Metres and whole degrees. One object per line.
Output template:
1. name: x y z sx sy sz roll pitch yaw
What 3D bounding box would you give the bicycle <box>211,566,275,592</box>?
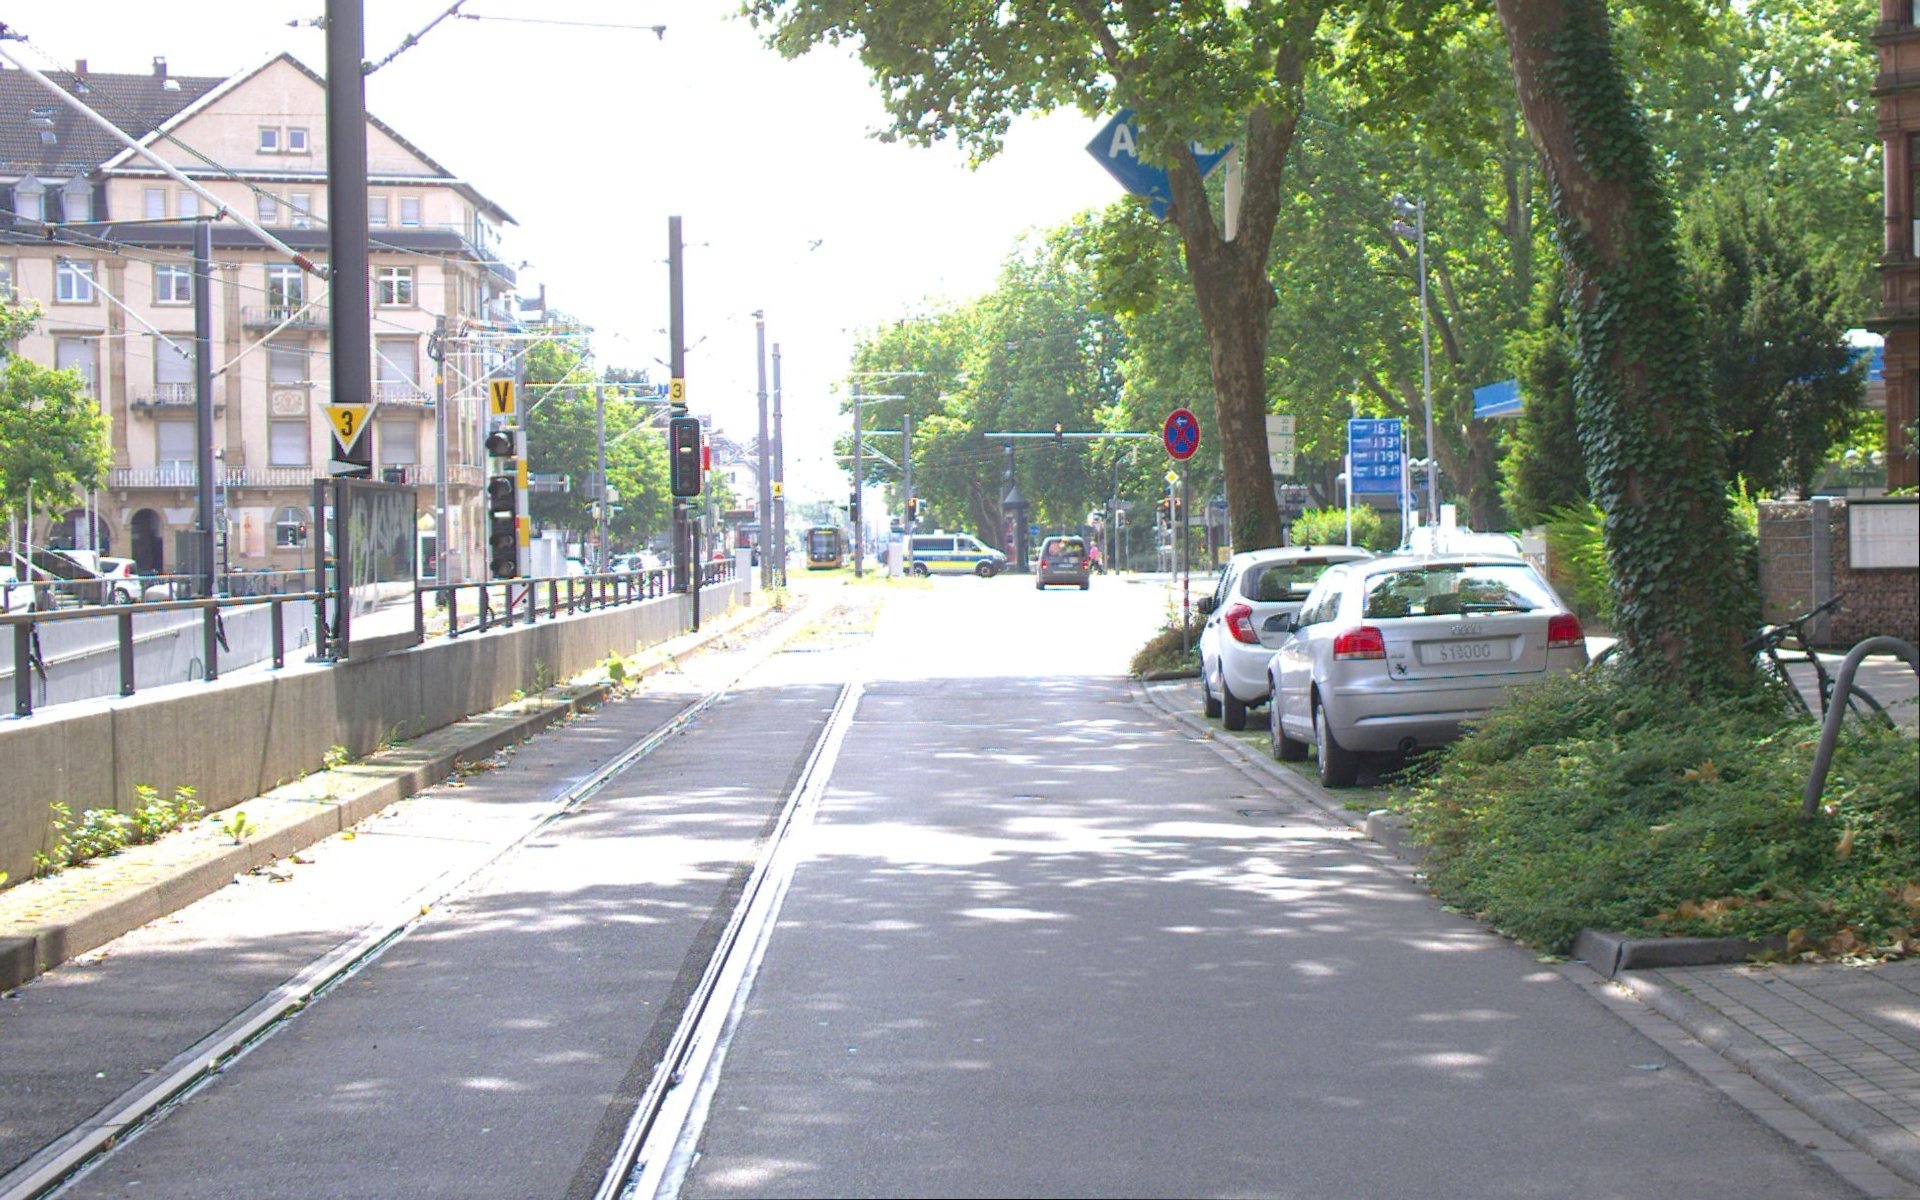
1. bicycle: -30.758 -0.908 147.465 2.557 1.049 0.682 -1 1 -28

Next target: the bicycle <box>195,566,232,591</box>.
1. bicycle: -32.278 -0.929 148.609 0.803 1.049 2.566 -1 1 -29

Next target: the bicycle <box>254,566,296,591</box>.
1. bicycle: -29.836 -0.939 149.782 0.804 1.049 2.565 -1 1 12

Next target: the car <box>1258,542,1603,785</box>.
1. car: 3.022 0.364 22.767 1.677 1.439 3.859 -1 1 -1

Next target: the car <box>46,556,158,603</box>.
1. car: -28.527 -0.684 114.325 3.265 1.497 1.855 -1 1 -2

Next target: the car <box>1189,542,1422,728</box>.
1. car: 2.922 0.251 29.703 1.553 1.480 3.859 -1 1 -1

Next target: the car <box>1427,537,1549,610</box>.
1. car: 10.771 -0.559 70.351 1.805 1.450 4.002 0 1 -1

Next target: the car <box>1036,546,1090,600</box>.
1. car: 3.557 -0.942 118.921 1.750 1.802 3.475 1 1 0

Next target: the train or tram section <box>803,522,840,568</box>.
1. train or tram section: -10.455 -4.165 260.648 2.240 3.320 12.972 -1 1 0

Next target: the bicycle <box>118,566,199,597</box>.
1. bicycle: -34.179 -0.785 146.588 3.312 1.249 0.998 -1 1 16

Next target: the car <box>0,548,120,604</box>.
1. car: -29.277 -0.772 111.043 3.869 1.742 1.895 -1 1 -3

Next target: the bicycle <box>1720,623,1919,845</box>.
1. bicycle: 4.267 0.640 17.027 0.579 1.016 1.324 -1 1 -6

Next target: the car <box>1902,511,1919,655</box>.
1. car: 11.881 -0.254 34.568 4.234 1.464 1.942 -2 1 0

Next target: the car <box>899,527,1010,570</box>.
1. car: -0.249 -2.315 154.670 4.736 1.853 2.000 -1 1 7

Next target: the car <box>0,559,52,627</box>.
1. car: -22.423 -0.161 79.242 1.930 1.499 4.415 -1 1 -2
